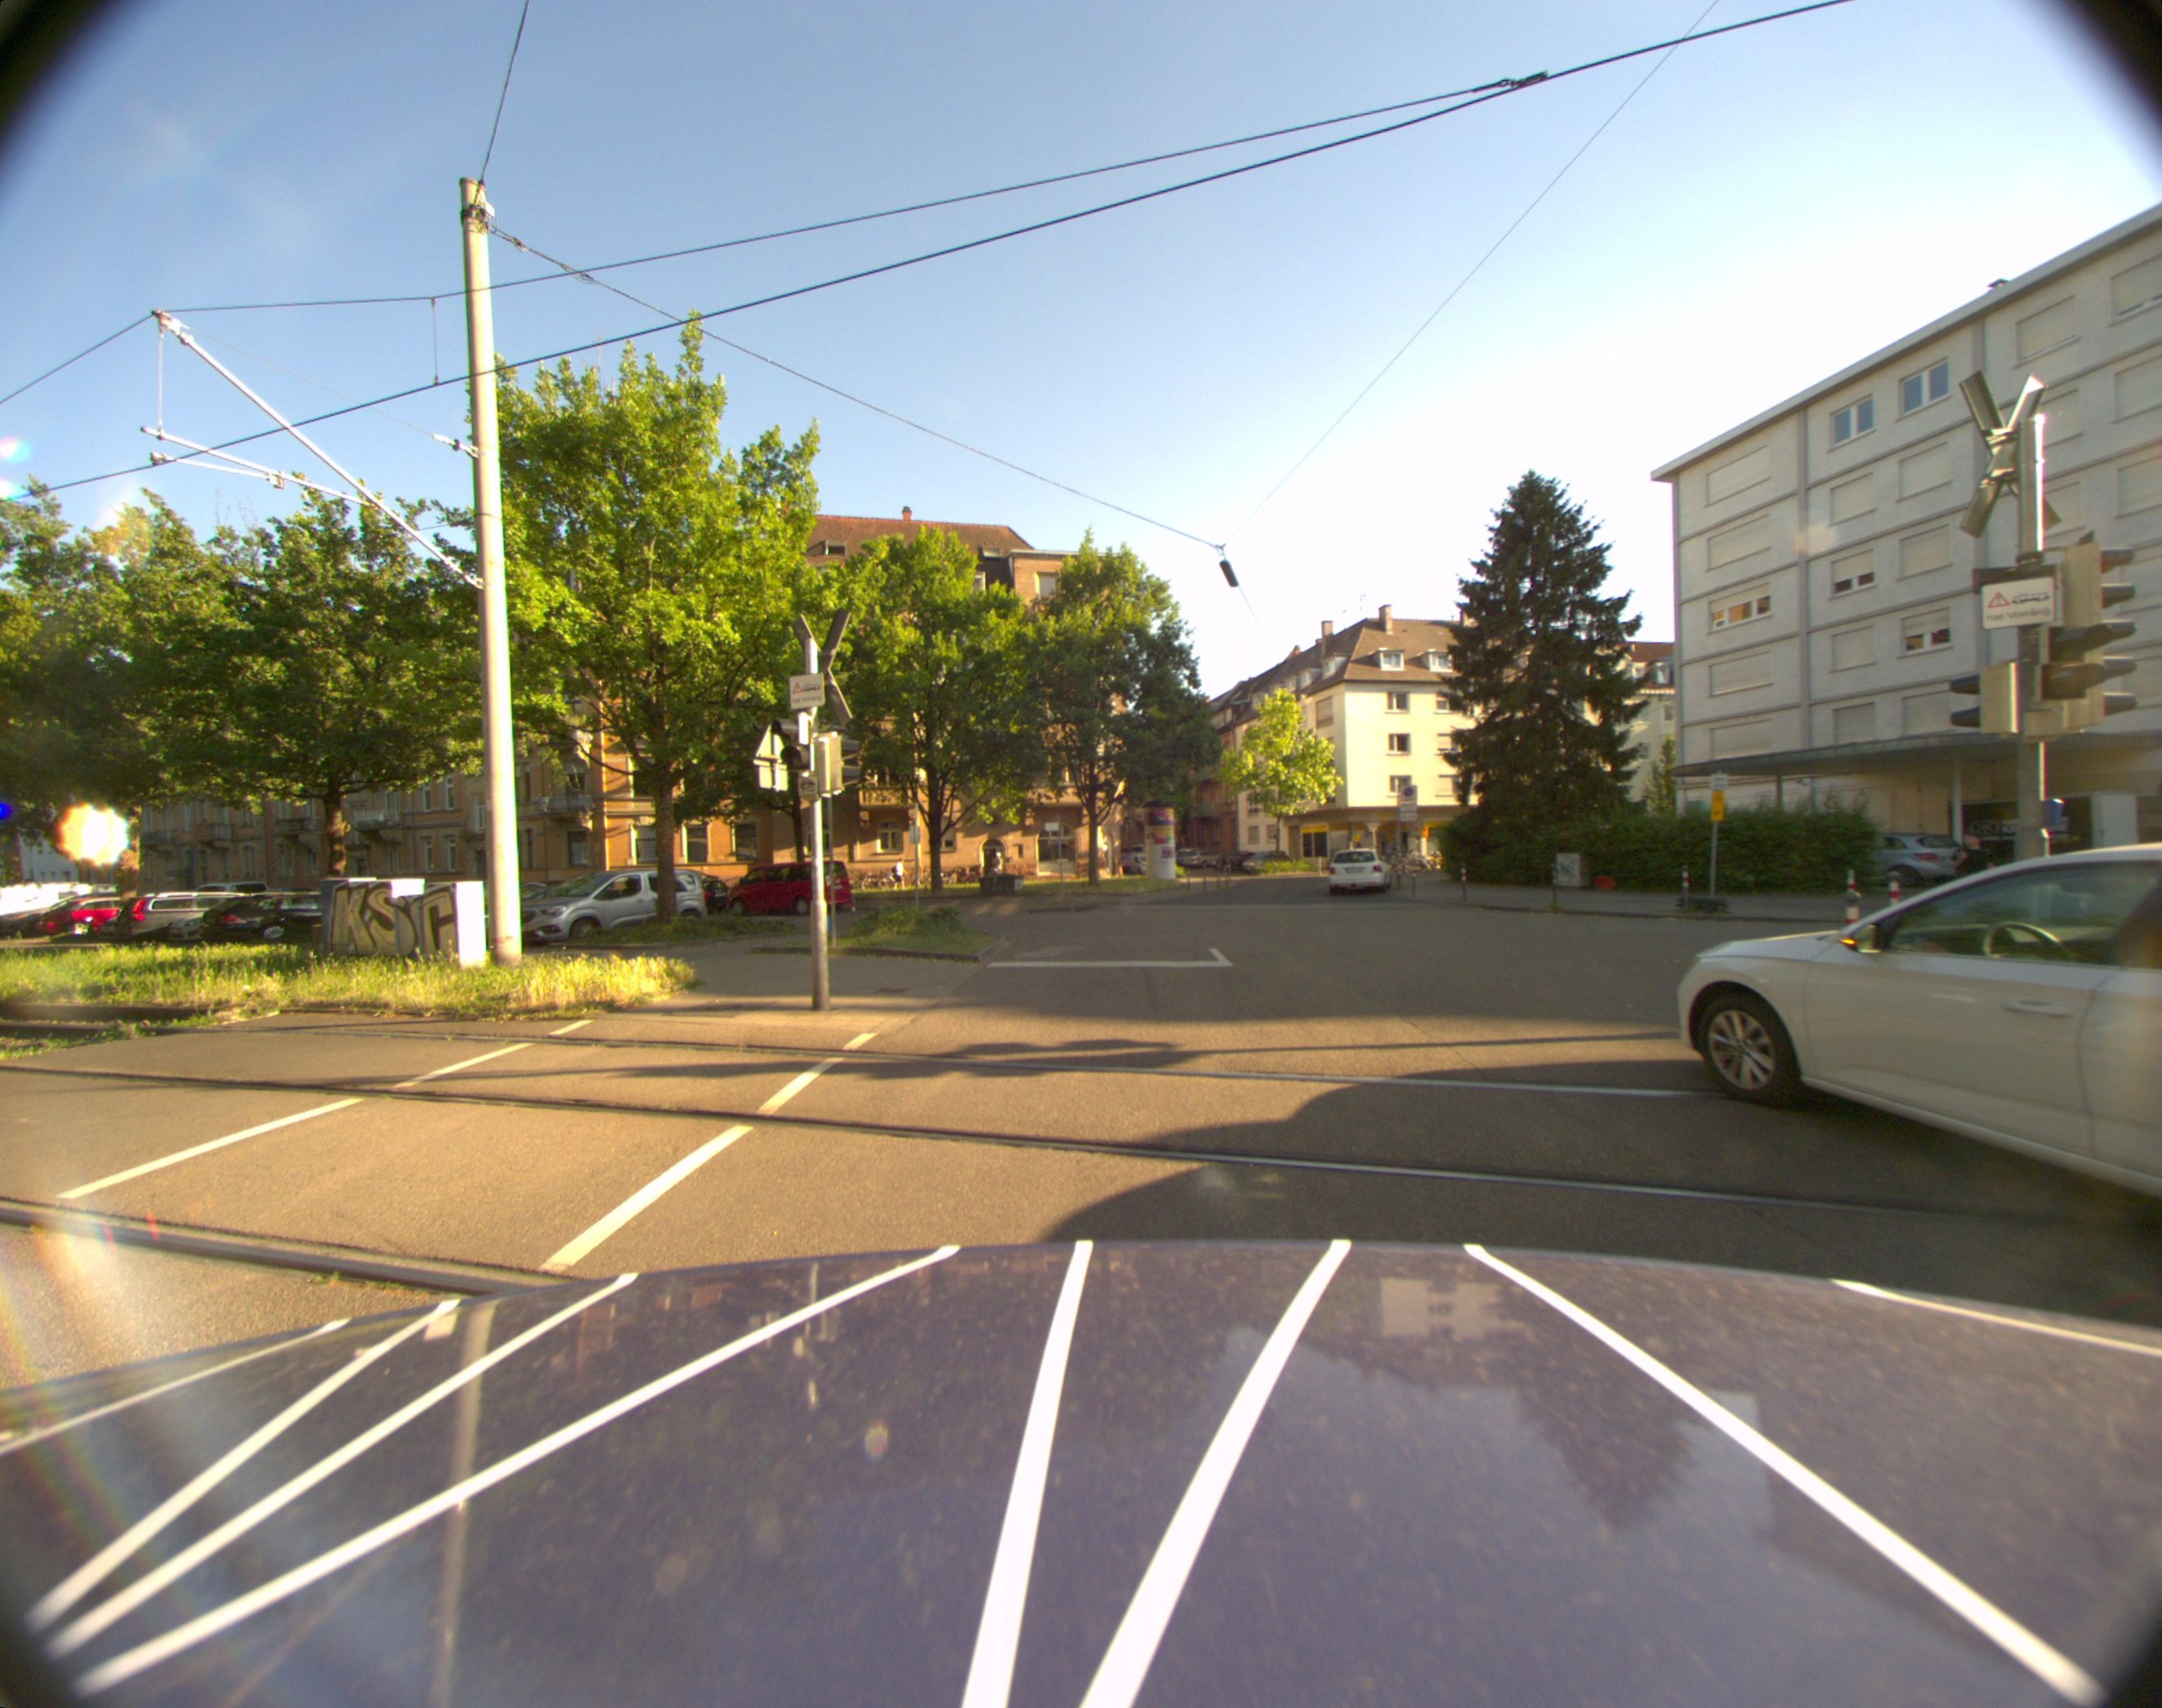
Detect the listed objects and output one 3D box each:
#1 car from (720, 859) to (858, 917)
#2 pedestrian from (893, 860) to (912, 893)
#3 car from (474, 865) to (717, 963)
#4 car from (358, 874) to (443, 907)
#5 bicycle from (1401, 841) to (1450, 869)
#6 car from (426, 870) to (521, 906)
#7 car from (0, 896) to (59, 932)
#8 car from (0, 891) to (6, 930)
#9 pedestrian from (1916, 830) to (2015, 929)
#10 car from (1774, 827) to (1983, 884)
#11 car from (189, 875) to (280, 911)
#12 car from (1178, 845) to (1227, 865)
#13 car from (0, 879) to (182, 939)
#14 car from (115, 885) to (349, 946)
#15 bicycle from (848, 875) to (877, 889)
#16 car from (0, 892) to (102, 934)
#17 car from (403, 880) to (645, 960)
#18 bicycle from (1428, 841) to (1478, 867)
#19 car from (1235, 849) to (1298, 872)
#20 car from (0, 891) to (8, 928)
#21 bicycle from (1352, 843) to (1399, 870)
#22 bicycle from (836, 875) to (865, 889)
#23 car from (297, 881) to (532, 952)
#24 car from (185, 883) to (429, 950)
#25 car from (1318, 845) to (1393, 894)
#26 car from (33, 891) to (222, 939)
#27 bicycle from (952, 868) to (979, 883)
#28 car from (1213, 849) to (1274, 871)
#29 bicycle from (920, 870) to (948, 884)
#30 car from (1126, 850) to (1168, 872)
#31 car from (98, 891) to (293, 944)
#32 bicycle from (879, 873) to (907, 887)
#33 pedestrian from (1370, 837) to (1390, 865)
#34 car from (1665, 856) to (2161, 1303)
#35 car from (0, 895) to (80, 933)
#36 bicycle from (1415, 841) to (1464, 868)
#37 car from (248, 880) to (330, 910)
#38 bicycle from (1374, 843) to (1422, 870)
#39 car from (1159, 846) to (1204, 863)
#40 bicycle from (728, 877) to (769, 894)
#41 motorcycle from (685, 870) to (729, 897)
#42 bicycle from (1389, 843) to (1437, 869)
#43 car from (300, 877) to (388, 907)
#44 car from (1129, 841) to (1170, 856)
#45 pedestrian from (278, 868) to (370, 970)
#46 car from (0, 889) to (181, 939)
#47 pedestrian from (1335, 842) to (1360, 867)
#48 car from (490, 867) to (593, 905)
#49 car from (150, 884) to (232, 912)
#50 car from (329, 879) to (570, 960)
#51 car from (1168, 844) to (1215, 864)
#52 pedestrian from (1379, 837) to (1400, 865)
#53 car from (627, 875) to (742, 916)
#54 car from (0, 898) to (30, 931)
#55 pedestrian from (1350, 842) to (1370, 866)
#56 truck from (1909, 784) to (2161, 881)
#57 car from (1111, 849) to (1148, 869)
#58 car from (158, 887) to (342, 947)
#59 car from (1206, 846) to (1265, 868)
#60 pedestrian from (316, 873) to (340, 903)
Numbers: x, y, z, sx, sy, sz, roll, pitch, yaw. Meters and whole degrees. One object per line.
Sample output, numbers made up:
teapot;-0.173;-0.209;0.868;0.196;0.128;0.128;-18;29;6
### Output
car;-10.922;1.285;28.434;4.761;1.923;1.784;-2;3;22
pedestrian;-9.500;1.195;40.463;0.912;1.708;0.675;-2;0;-12
car;-11.473;1.305;18.367;1.945;1.903;4.561;-1;1;25
car;-34.217;1.837;38.214;3.700;1.467;1.691;-2;2;23
bicycle;20.050;0.030;44.347;0.881;1.437;3.376;-2;2;-9
car;-28.863;1.620;36.093;3.873;1.467;1.691;-2;2;21
car;-48.123;2.705;33.068;1.680;1.480;4.006;-2;0;23
car;-53.011;2.738;34.828;1.680;1.821;4.006;-2;0;23
pedestrian;15.940;0.444;13.723;0.869;1.726;0.832;-2;2;22
car;24.253;0.044;23.349;2.000;1.524;3.997;-2;0;-8
car;-49.027;2.256;44.017;4.714;1.872;1.915;-2;3;22
car;10.167;0.057;63.557;4.007;1.496;1.868;-2;0;-41
car;-39.477;2.107;29.866;2.150;2.026;4.868;-2;0;23
car;-27.715;1.917;25.056;1.995;1.563;4.723;-1;1;25
bicycle;-12.078;1.542;42.090;1.511;0.728;0.368;-2;1;-13
car;-43.656;2.422;31.125;1.680;1.544;4.006;-2;0;23
car;-13.973;1.554;19.417;1.945;1.563;4.561;-1;1;25
bicycle;21.844;-0.032;44.675;0.881;1.437;3.376;-2;2;-9
car;12.762;0.438;52.214;4.005;1.392;1.869;-2;0;-29
car;-55.015;2.789;36.303;1.680;1.821;4.006;-2;0;23
bicycle;16.709;0.132;43.199;0.881;1.437;3.376;-2;1;-9
bicycle;-12.825;1.567;42.313;1.511;0.728;0.368;-2;1;-13
car;-18.635;1.661;21.536;1.945;1.563;4.561;-1;1;25
car;-23.060;1.766;22.911;1.995;1.563;4.723;-1;1;25
car;9.371;0.476;25.690;1.919;1.442;4.303;-3;0;25
car;-34.888;2.190;27.950;1.680;1.415;4.006;-2;0;23
bicycle;-6.668;1.251;43.840;1.511;0.728;0.368;-4;1;-13
car;11.648;0.420;54.422;4.005;1.392;1.869;-2;0;-29
bicycle;-8.415;1.335;43.555;1.511;0.728;0.368;-2;1;-13
car;4.545;0.490;52.816;1.874;1.392;3.996;-2;0;-10
car;-30.205;2.115;26.083;1.680;1.452;4.006;-2;0;23
bicycle;-10.587;1.450;42.830;1.511;0.728;0.368;-2;1;-13
pedestrian;20.315;-0.213;51.661;0.891;1.864;0.851;-2;1;-12
car;4.480;0.762;2.716;1.706;1.448;4.063;-2;0;1
car;-45.926;2.602;32.132;1.680;1.480;4.006;-2;0;23
bicycle;20.983;-0.008;44.573;0.881;1.437;3.376;-2;2;-9
car;-43.776;2.289;42.000;3.879;1.430;1.771;-2;2;22
bicycle;18.043;0.111;43.365;0.881;1.437;3.376;-2;1;-9
car;9.251;0.023;69.685;4.007;1.392;1.868;-2;0;-41
bicycle;-18.088;1.709;41.360;1.899;0.843;0.525;-3;0;-13
motorcycle;-20.030;1.571;40.727;1.899;1.345;0.809;-3;0;-13
bicycle;19.076;0.089;43.777;0.881;1.437;3.376;-2;1;-9
car;-39.045;2.013;40.245;4.280;1.376;1.771;-2;2;23
car;7.058;-0.544;77.759;4.007;1.392;1.868;-2;0;-41
pedestrian;-14.907;1.249;14.977;1.147;1.907;0.907;-2;-1;23
car;-37.150;2.186;28.496;1.762;1.570;4.006;-2;0;21
pedestrian;17.985;0.035;51.344;1.215;1.657;0.963;-2;1;-11
car;-24.228;1.431;34.126;4.260;1.467;1.784;-2;2;25
car;-54.262;2.672;46.326;4.382;1.433;1.884;-2;2;22
car;-16.495;1.618;20.160;1.945;1.681;4.457;-1;1;25
car;9.706;-0.045;66.722;4.007;1.626;1.868;-2;0;-41
pedestrian;20.614;-0.191;50.776;0.891;1.864;0.851;-2;1;-12
car;-15.997;1.689;30.648;4.260;1.426;1.784;-2;2;25
car;-50.913;2.824;34.158;1.680;1.480;4.006;-2;0;23
pedestrian;19.046;0.008;51.910;0.964;1.560;0.890;-2;1;-10
truck;28.375;-0.592;22.423;2.000;2.520;4.967;-2;0;-12
car;3.620;0.343;57.719;1.874;1.392;3.996;-2;0;-10
car;-25.578;1.897;23.515;1.715;1.505;3.415;-2;0;25
car;11.751;0.229;57.740;4.005;1.559;1.869;-2;0;-26
pedestrian;-45.632;2.057;46.061;0.720;1.709;0.676;-2;3;23
